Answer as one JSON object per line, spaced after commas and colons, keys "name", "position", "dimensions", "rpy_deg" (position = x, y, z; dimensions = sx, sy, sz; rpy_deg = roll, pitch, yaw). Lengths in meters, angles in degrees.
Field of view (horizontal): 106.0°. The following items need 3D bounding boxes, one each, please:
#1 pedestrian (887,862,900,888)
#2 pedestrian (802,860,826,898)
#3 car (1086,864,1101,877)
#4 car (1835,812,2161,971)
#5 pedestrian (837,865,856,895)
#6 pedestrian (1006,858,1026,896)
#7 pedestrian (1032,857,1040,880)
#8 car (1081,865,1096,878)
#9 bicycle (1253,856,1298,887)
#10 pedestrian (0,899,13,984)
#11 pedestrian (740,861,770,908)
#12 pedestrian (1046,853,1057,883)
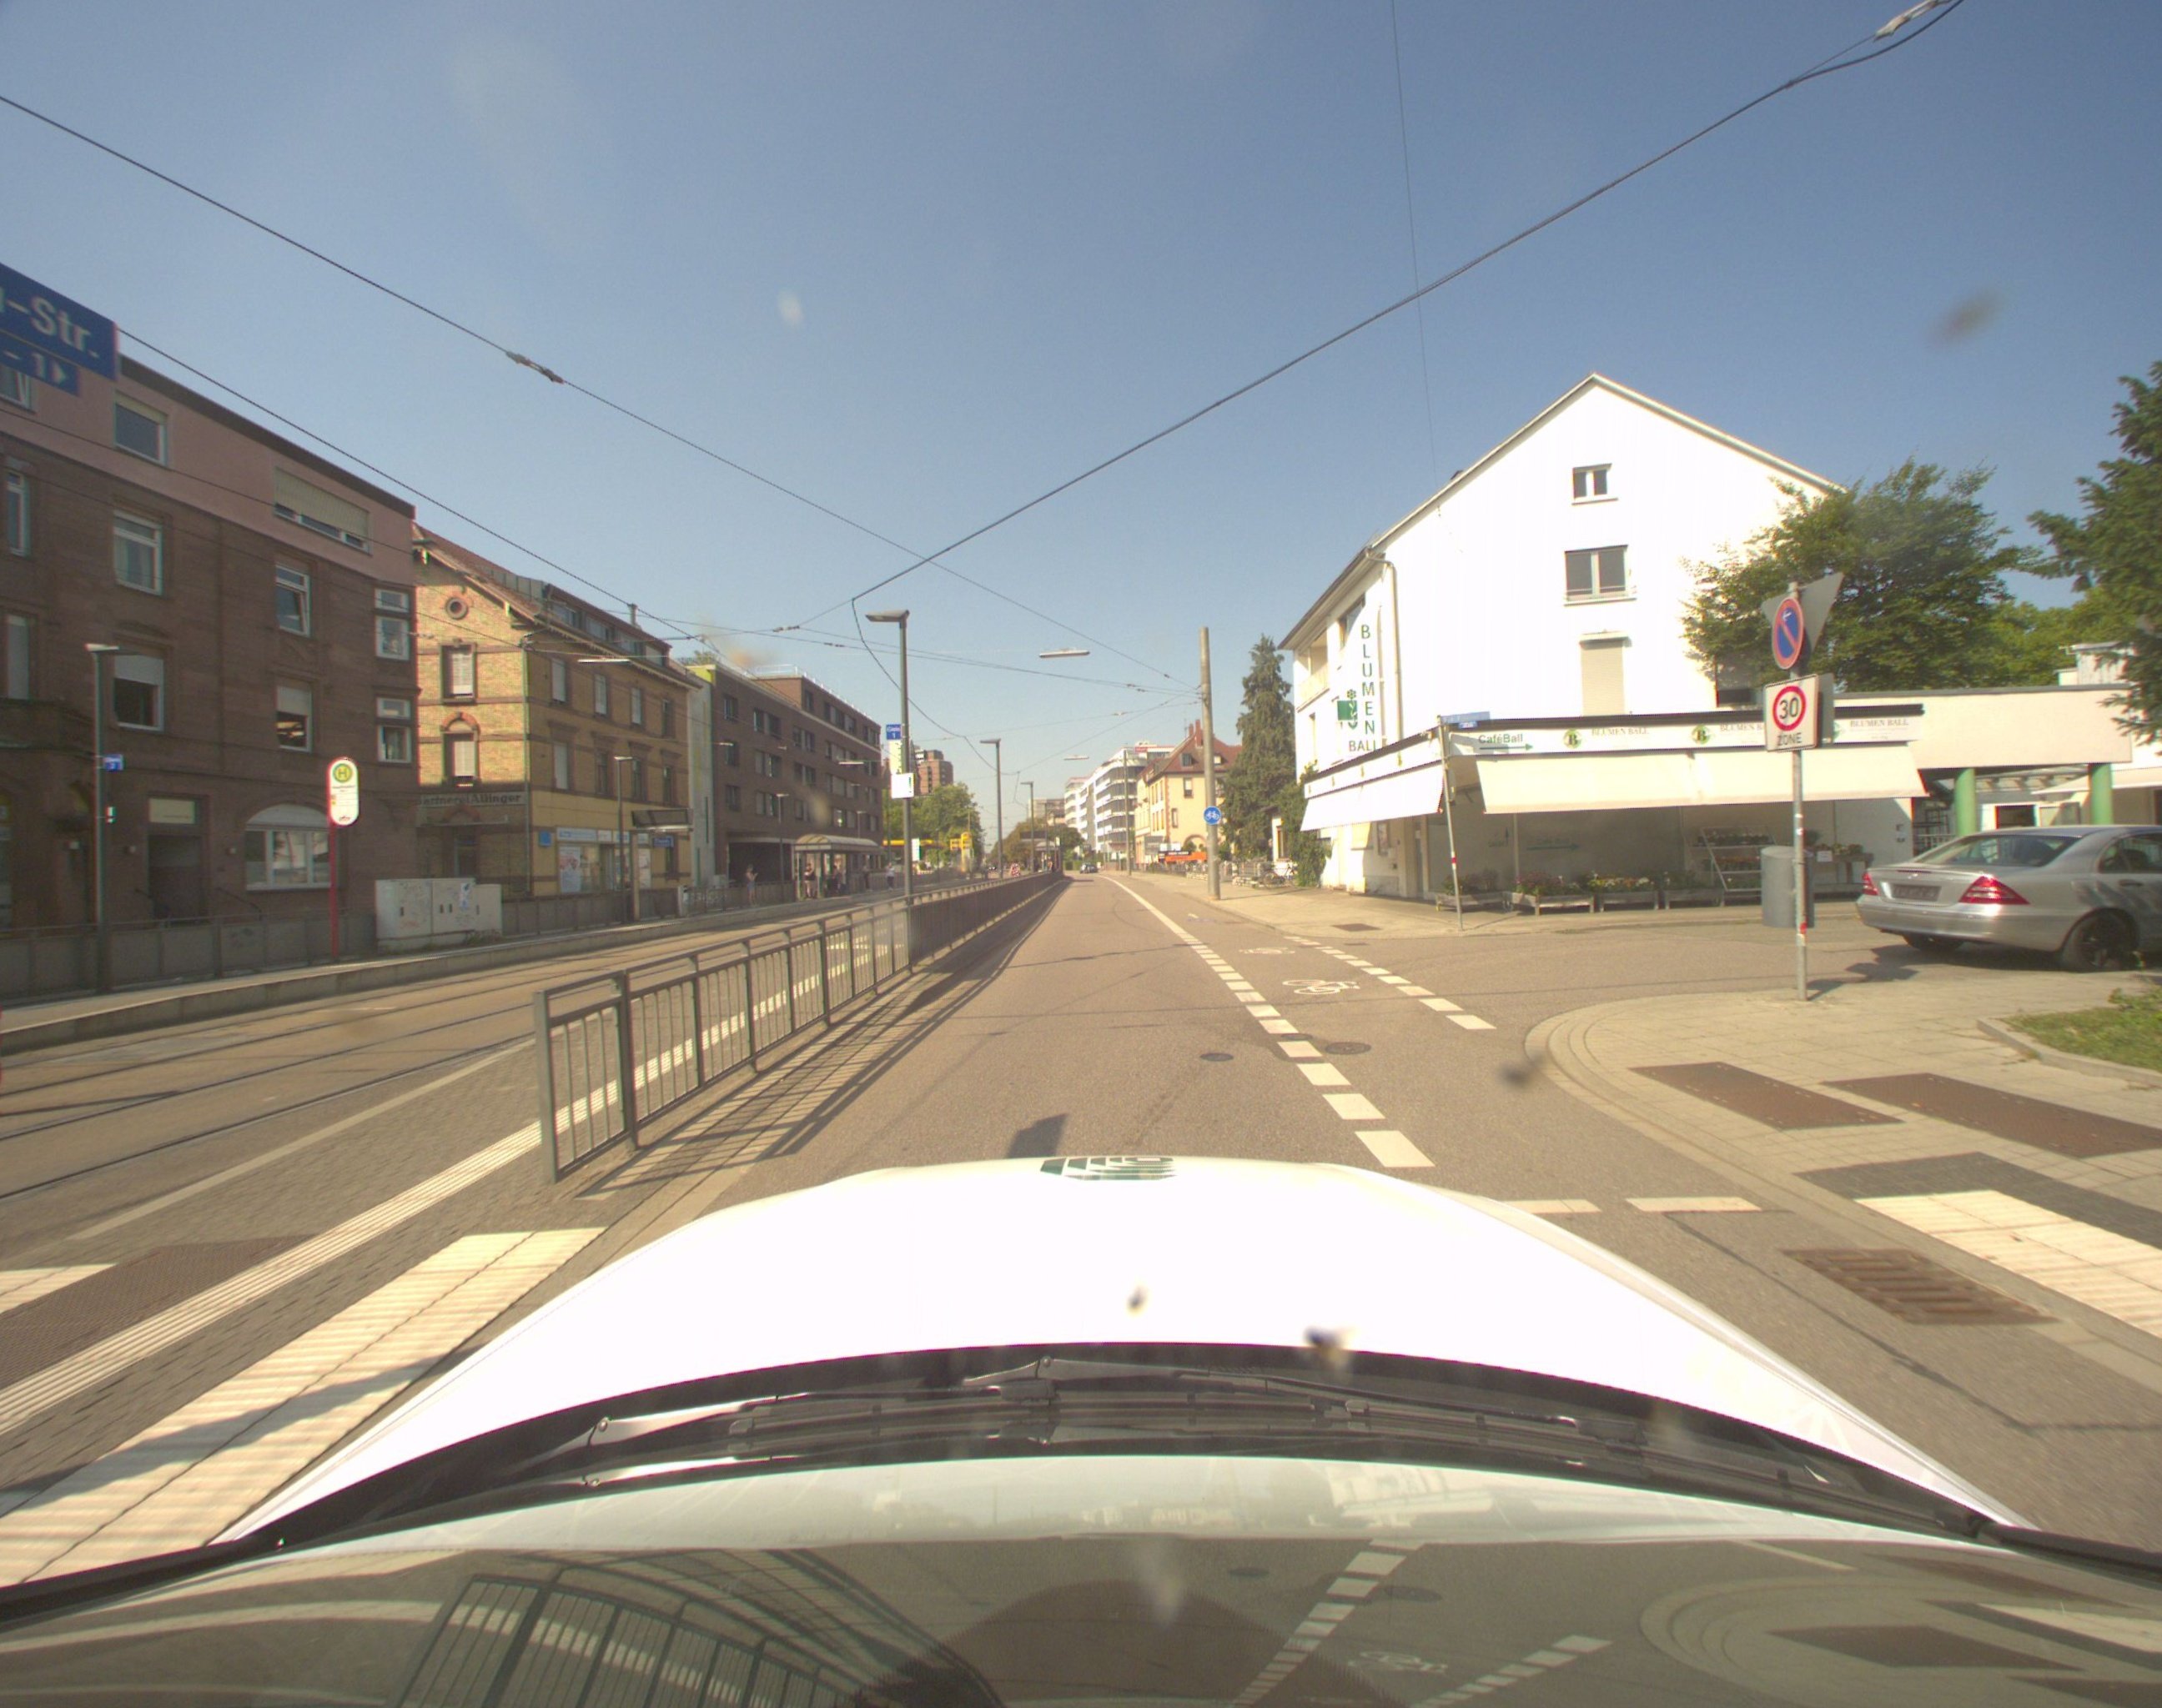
{"name": "pedestrian", "position": [-11.091, 1.250, 48.231], "dimensions": [0.532, 1.530, 0.700], "rpy_deg": [-4, -1, -6]}
{"name": "pedestrian", "position": [-12.423, 1.155, 37.902], "dimensions": [0.705, 1.747, 0.799], "rpy_deg": [-4, -1, 1]}
{"name": "car", "position": [1.845, 2.451, 122.398], "dimensions": [2.004, 1.859, 4.002], "rpy_deg": [-4, -1, 2]}
{"name": "car", "position": [10.923, 0.309, 8.690], "dimensions": [4.164, 1.410, 1.662], "rpy_deg": [-3, 0, 0]}
{"name": "pedestrian", "position": [-11.853, 1.294, 41.203], "dimensions": [0.696, 1.468, 0.534], "rpy_deg": [-4, -2, 3]}
{"name": "pedestrian", "position": [-3.056, 1.071, 38.359], "dimensions": [0.717, 1.703, 0.884], "rpy_deg": [-4, -1, 1]}
{"name": "pedestrian", "position": [-3.444, 1.119, 62.235], "dimensions": [0.535, 1.703, 0.581], "rpy_deg": [-4, -1, -2]}
{"name": "car", "position": [1.210, 2.781, 128.561], "dimensions": [2.004, 1.859, 4.002], "rpy_deg": [-4, -1, 2]}
{"name": "bicycle", "position": [7.667, 0.694, 32.272], "dimensions": [0.730, 1.132, 2.833], "rpy_deg": [-6, -1, -6]}
{"name": "pedestrian", "position": [-20.207, 1.615, 14.757], "dimensions": [0.480, 1.560, 0.890], "rpy_deg": [-1, -2, 12]}
{"name": "pedestrian", "position": [-12.535, 1.153, 31.294], "dimensions": [0.705, 1.723, 0.799], "rpy_deg": [-4, -1, 1]}
{"name": "pedestrian", "position": [-1.682, 0.789, 46.976], "dimensions": [0.535, 1.703, 0.581], "rpy_deg": [-4, -1, -2]}
